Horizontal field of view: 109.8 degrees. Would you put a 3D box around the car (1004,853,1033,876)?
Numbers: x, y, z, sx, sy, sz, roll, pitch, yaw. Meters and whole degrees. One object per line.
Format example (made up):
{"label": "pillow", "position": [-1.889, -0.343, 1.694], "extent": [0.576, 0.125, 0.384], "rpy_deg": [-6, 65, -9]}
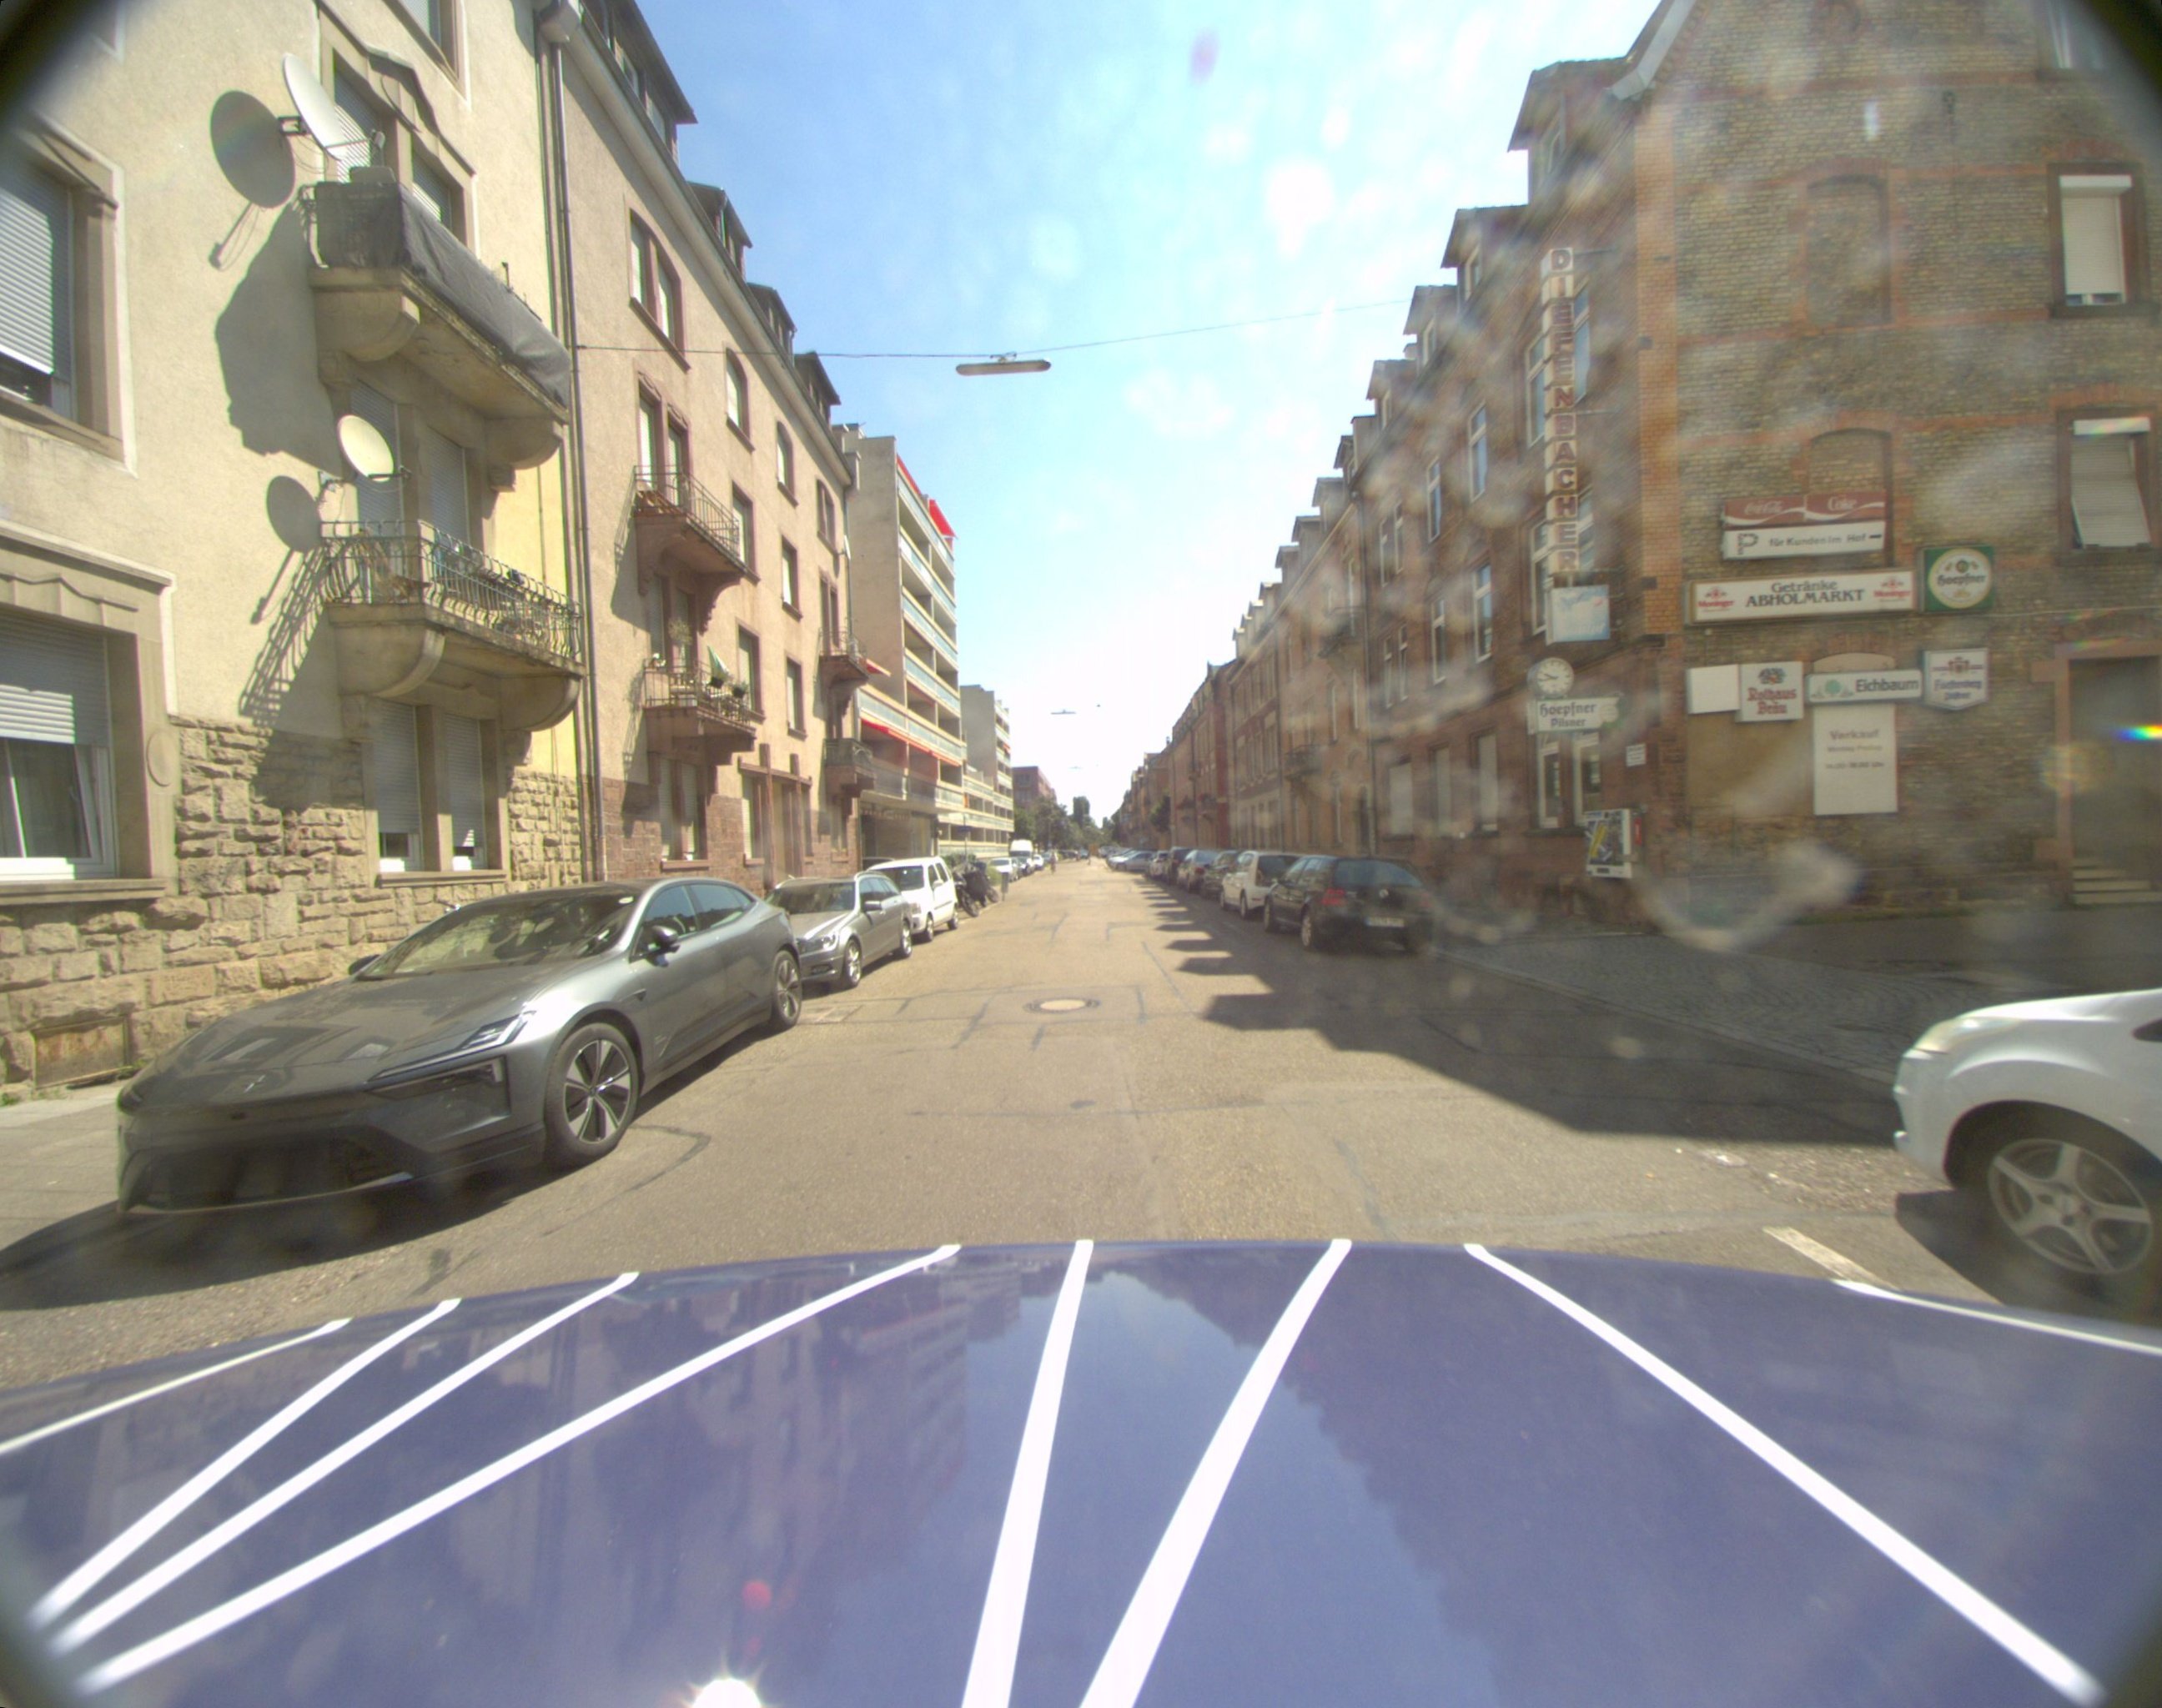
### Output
{"label": "car", "position": [-4.571, 0.740, 56.004], "extent": [1.717, 1.543, 3.999], "rpy_deg": [-2, 1, 1]}

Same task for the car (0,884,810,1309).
{"label": "car", "position": [-3.599, 1.071, 5.335], "extent": [1.828, 1.423, 4.488], "rpy_deg": [-3, 0, -2]}

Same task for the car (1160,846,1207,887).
{"label": "car", "position": [4.346, 0.500, 32.505], "extent": [1.450, 1.633, 3.525], "rpy_deg": [2, 1, -1]}

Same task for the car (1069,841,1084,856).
{"label": "car", "position": [-0.587, -0.747, 104.190], "extent": [1.826, 2.002, 3.867], "rpy_deg": [-2, 1, 1]}

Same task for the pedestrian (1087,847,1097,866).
{"label": "pedestrian", "position": [1.097, 0.224, 75.898], "extent": [0.883, 1.823, 0.874], "rpy_deg": [-3, 1, 2]}

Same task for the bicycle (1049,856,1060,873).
{"label": "bicycle", "position": [-1.954, 0.742, 56.435], "extent": [0.671, 1.169, 2.094], "rpy_deg": [-2, 1, 1]}

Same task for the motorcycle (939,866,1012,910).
{"label": "motorcycle", "position": [-3.552, 1.138, 25.660], "extent": [2.329, 1.194, 0.675], "rpy_deg": [-7, 2, -40]}

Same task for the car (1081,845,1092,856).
{"label": "car", "position": [0.833, -0.519, 116.546], "extent": [1.625, 1.601, 3.597], "rpy_deg": [-2, 1, 0]}

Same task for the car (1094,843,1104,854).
{"label": "car", "position": [3.618, -1.162, 151.251], "extent": [1.785, 2.002, 4.000], "rpy_deg": [-3, 1, 3]}

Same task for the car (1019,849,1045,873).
{"label": "car", "position": [-4.387, 0.558, 68.398], "extent": [1.902, 2.002, 3.999], "rpy_deg": [-2, 1, 1]}

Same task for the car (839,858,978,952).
{"label": "car", "position": [-3.459, 0.951, 16.015], "extent": [1.651, 1.613, 4.092], "rpy_deg": [-2, 1, 4]}

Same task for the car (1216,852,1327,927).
{"label": "car", "position": [4.151, 0.711, 17.095], "extent": [1.632, 1.421, 3.678], "rpy_deg": [2, 1, 2]}

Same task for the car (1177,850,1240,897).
{"label": "car", "position": [4.336, 0.625, 26.308], "extent": [1.450, 1.464, 3.525], "rpy_deg": [2, 1, -1]}

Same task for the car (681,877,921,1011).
{"label": "car", "position": [-3.700, 1.108, 10.979], "extent": [1.791, 1.350, 4.352], "rpy_deg": [-2, 0, 0]}

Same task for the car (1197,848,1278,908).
{"label": "car", "position": [4.436, 0.629, 21.962], "extent": [1.450, 1.534, 3.524], "rpy_deg": [1, 1, -2]}

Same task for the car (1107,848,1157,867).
{"label": "car", "position": [4.158, 0.269, 62.187], "extent": [3.996, 1.422, 1.678], "rpy_deg": [-2, 1, 1]}

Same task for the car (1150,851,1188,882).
{"label": "car", "position": [4.292, 0.564, 37.443], "extent": [1.450, 1.391, 3.525], "rpy_deg": [2, 1, 1]}

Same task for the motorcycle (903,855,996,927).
{"label": "motorcycle", "position": [-3.453, 0.947, 20.095], "extent": [2.197, 1.613, 0.764], "rpy_deg": [-7, 2, -40]}

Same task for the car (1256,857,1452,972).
{"label": "car", "position": [4.066, 0.819, 12.022], "extent": [1.781, 1.421, 3.836], "rpy_deg": [2, 1, 2]}

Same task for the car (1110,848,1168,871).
{"label": "car", "position": [4.094, 0.384, 54.169], "extent": [3.996, 1.422, 1.678], "rpy_deg": [-2, 1, 1]}

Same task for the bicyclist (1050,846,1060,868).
{"label": "bicyclist", "position": [-1.964, 0.220, 56.526], "extent": [0.645, 1.640, 0.622], "rpy_deg": [-2, 1, 1]}

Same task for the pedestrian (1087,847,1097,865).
{"label": "pedestrian", "position": [1.148, 0.214, 76.500], "extent": [0.883, 1.823, 0.874], "rpy_deg": [-3, 1, 2]}

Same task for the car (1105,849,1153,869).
{"label": "car", "position": [4.039, 0.439, 64.471], "extent": [3.996, 1.491, 1.652], "rpy_deg": [-2, 1, 1]}

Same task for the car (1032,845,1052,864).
{"label": "car", "position": [-4.297, -0.004, 85.091], "extent": [1.902, 2.002, 3.999], "rpy_deg": [-2, 1, 1]}

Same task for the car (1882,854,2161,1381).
{"label": "car", "position": [4.076, 0.817, 1.086], "extent": [1.633, 1.540, 3.851], "rpy_deg": [1, 1, -3]}

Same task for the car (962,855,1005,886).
{"label": "car", "position": [-5.226, 0.839, 41.291], "extent": [1.754, 1.485, 3.902], "rpy_deg": [-2, 1, 1]}

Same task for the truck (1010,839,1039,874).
{"label": "truck", "position": [-4.621, 0.160, 62.360], "extent": [1.869, 2.715, 4.507], "rpy_deg": [-2, 1, 1]}

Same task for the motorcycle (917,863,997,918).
{"label": "motorcycle", "position": [-3.783, 1.095, 23.320], "extent": [2.197, 1.422, 0.733], "rpy_deg": [-7, 2, -40]}

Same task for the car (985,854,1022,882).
{"label": "car", "position": [-4.664, 0.809, 46.178], "extent": [1.754, 1.485, 3.902], "rpy_deg": [-2, 1, 1]}

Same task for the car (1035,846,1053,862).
{"label": "car", "position": [-4.457, 0.023, 92.292], "extent": [1.792, 1.845, 3.999], "rpy_deg": [-2, 1, 1]}
